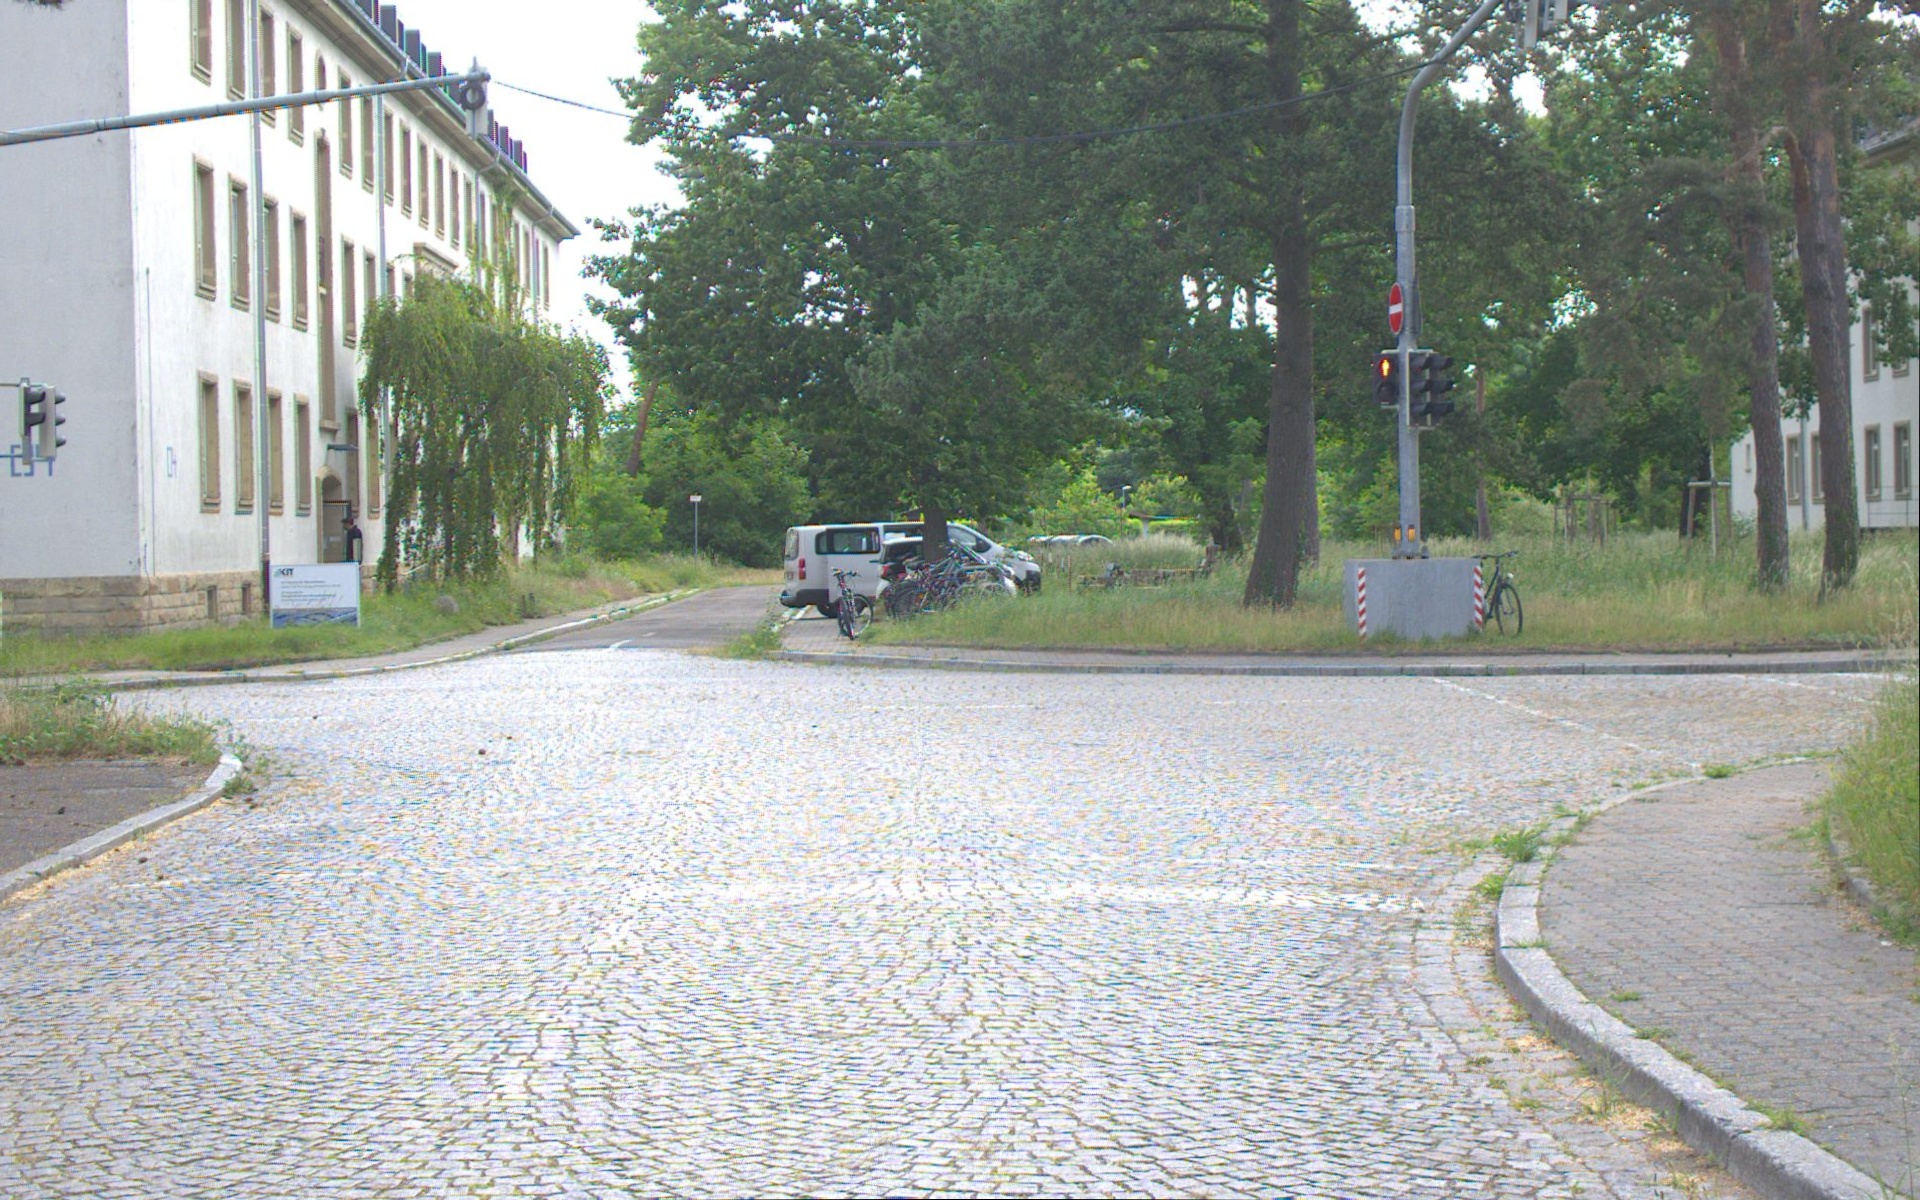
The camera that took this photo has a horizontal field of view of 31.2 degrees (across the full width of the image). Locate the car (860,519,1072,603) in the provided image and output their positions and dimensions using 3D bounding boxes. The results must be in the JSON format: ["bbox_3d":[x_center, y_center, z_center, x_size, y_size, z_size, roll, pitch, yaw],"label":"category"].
[{"bbox_3d":[0.090,-0.770,66.988,3.932,1.539,2.000,-1,1,-5],"label":"car"}]

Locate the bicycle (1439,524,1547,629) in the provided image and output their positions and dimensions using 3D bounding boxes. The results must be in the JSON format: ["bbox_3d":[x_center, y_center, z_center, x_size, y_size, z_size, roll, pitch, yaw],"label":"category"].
[{"bbox_3d":[6.224,-0.287,40.235,0.908,1.173,1.874,-1,1,-2],"label":"bicycle"}]

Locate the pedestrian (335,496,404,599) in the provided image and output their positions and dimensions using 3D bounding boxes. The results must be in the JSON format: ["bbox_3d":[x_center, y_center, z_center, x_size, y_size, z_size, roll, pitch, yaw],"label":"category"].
[{"bbox_3d":[-11.658,-1.042,67.889,1.087,2.007,1.021,-1,1,5],"label":"pedestrian"}]

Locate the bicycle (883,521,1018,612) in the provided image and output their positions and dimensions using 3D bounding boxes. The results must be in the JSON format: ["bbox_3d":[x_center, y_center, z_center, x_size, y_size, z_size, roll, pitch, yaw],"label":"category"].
[{"bbox_3d":[-0.152,-0.530,53.761,2.070,1.373,0.620,-1,1,0],"label":"bicycle"}]

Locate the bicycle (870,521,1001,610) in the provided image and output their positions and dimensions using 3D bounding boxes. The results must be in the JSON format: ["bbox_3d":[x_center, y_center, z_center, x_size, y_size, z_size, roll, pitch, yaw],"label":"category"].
[{"bbox_3d":[-0.399,-0.559,55.355,2.070,1.373,0.620,-1,1,0],"label":"bicycle"}]

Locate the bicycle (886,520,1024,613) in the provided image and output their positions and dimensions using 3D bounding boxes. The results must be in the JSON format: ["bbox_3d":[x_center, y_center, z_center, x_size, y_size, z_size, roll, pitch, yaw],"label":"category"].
[{"bbox_3d":[-0.081,-0.509,52.466,2.070,1.373,0.620,-1,1,0],"label":"bicycle"}]

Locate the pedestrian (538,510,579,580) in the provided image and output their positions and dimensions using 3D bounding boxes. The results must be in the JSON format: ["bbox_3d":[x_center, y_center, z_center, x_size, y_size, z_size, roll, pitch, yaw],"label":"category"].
[{"bbox_3d":[-11.629,-1.584,99.553,0.959,2.007,0.795,-1,1,9],"label":"pedestrian"}]

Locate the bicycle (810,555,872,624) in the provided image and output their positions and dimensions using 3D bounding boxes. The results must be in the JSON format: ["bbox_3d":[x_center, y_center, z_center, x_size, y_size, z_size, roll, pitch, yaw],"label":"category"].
[{"bbox_3d":[-1.740,-0.164,50.666,0.618,0.960,2.076,-1,1,6],"label":"bicycle"}]

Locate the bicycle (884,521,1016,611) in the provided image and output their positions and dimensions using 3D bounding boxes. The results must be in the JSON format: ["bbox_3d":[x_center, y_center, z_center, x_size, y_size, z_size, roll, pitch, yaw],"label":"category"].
[{"bbox_3d":[-0.158,-0.542,54.558,2.070,1.373,0.620,-1,1,0],"label":"bicycle"}]

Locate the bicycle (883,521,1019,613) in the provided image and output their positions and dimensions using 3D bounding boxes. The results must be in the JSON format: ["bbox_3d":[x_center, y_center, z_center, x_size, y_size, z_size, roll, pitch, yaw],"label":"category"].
[{"bbox_3d":[-0.137,-0.520,53.137,2.070,1.373,0.620,-1,1,0],"label":"bicycle"}]

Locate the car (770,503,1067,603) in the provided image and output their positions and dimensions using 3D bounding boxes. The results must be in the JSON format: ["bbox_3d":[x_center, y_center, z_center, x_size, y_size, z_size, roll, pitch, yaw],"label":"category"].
[{"bbox_3d":[-0.867,-0.974,70.349,5.690,1.904,2.231,-1,1,-13],"label":"car"}]
